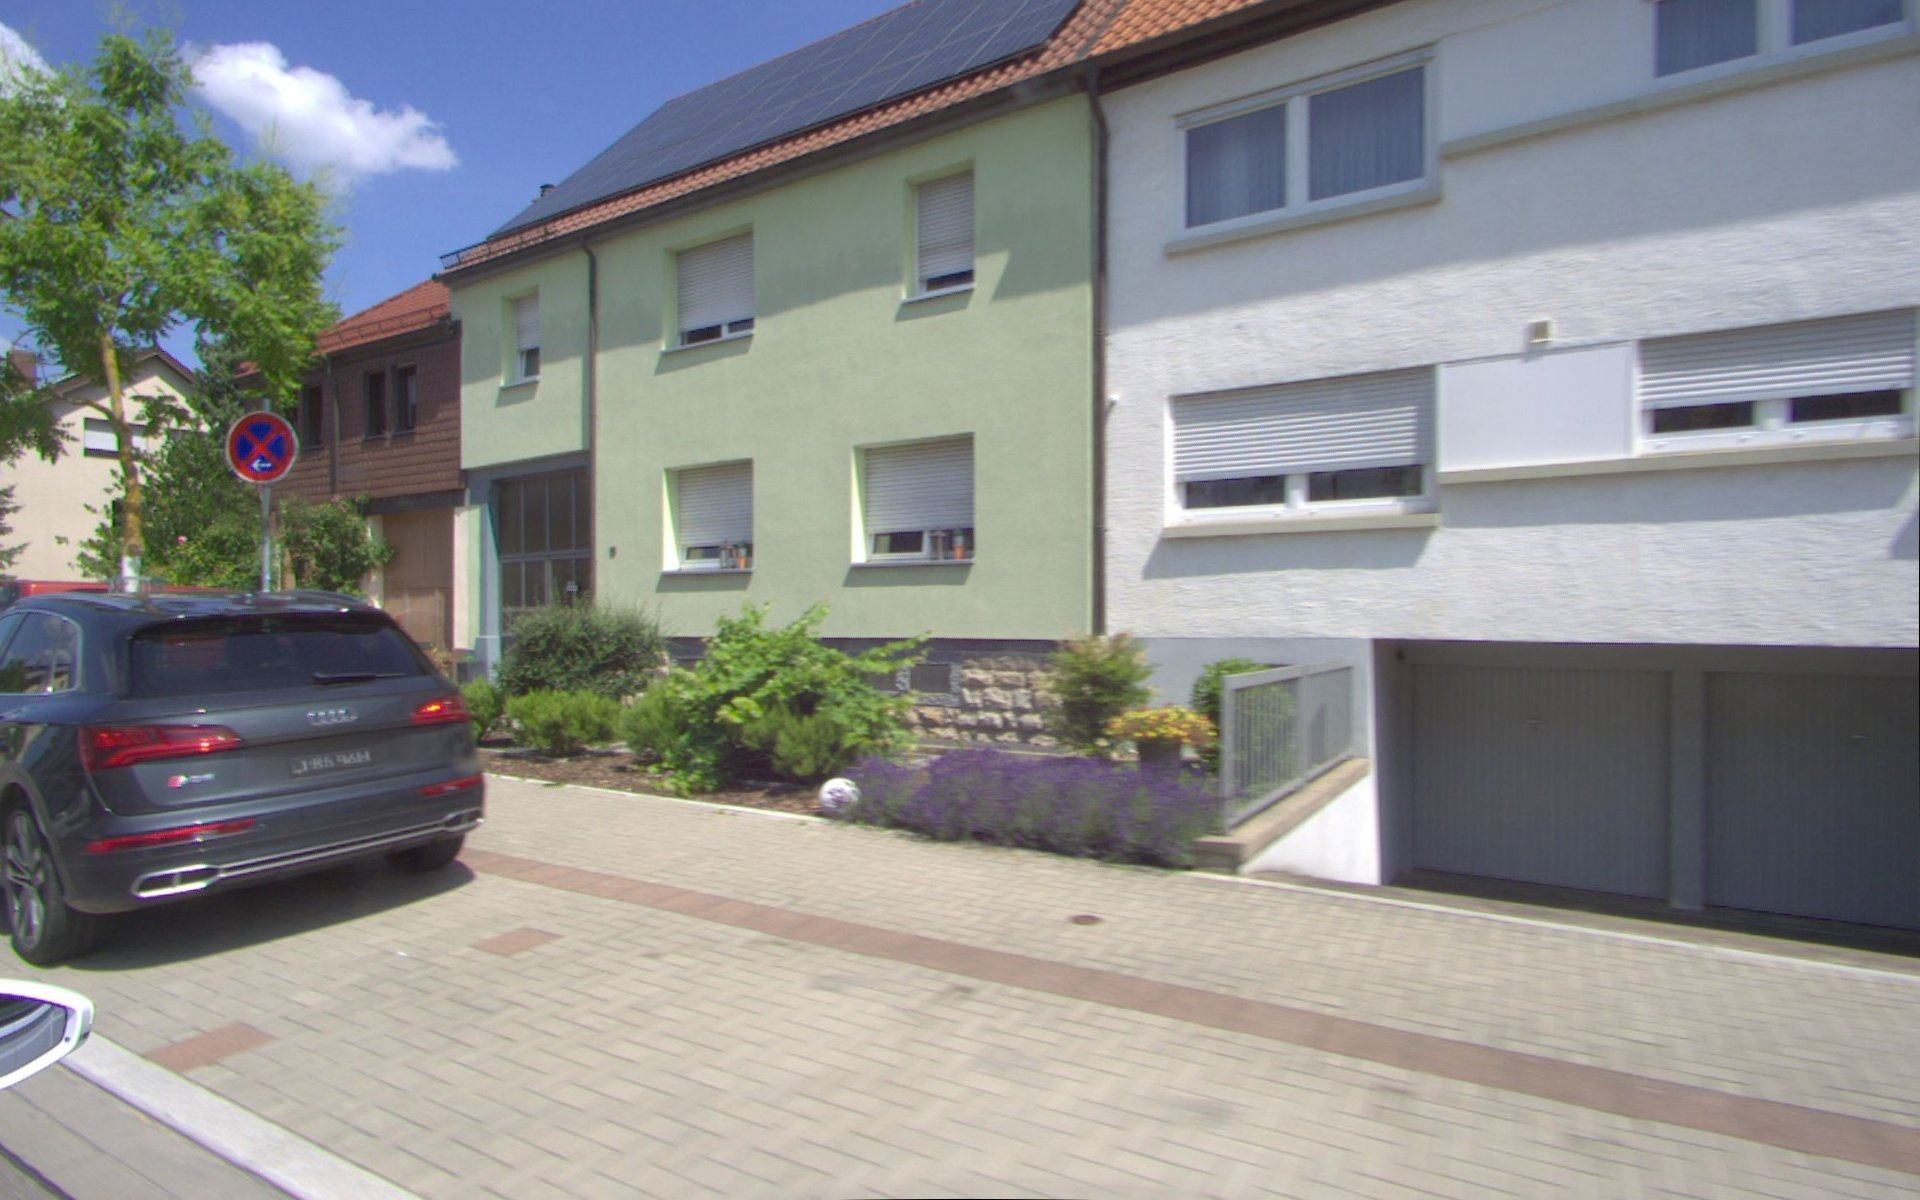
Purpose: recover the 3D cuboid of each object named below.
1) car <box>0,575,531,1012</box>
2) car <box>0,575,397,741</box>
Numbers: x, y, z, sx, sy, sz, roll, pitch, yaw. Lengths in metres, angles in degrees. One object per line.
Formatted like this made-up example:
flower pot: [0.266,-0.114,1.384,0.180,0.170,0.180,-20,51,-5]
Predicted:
car: [-4.642,0.730,5.790,4.384,1.658,1.859,0,2,34]
car: [-10.774,0.787,14.090,1.991,1.917,4.615,-2,-3,30]
